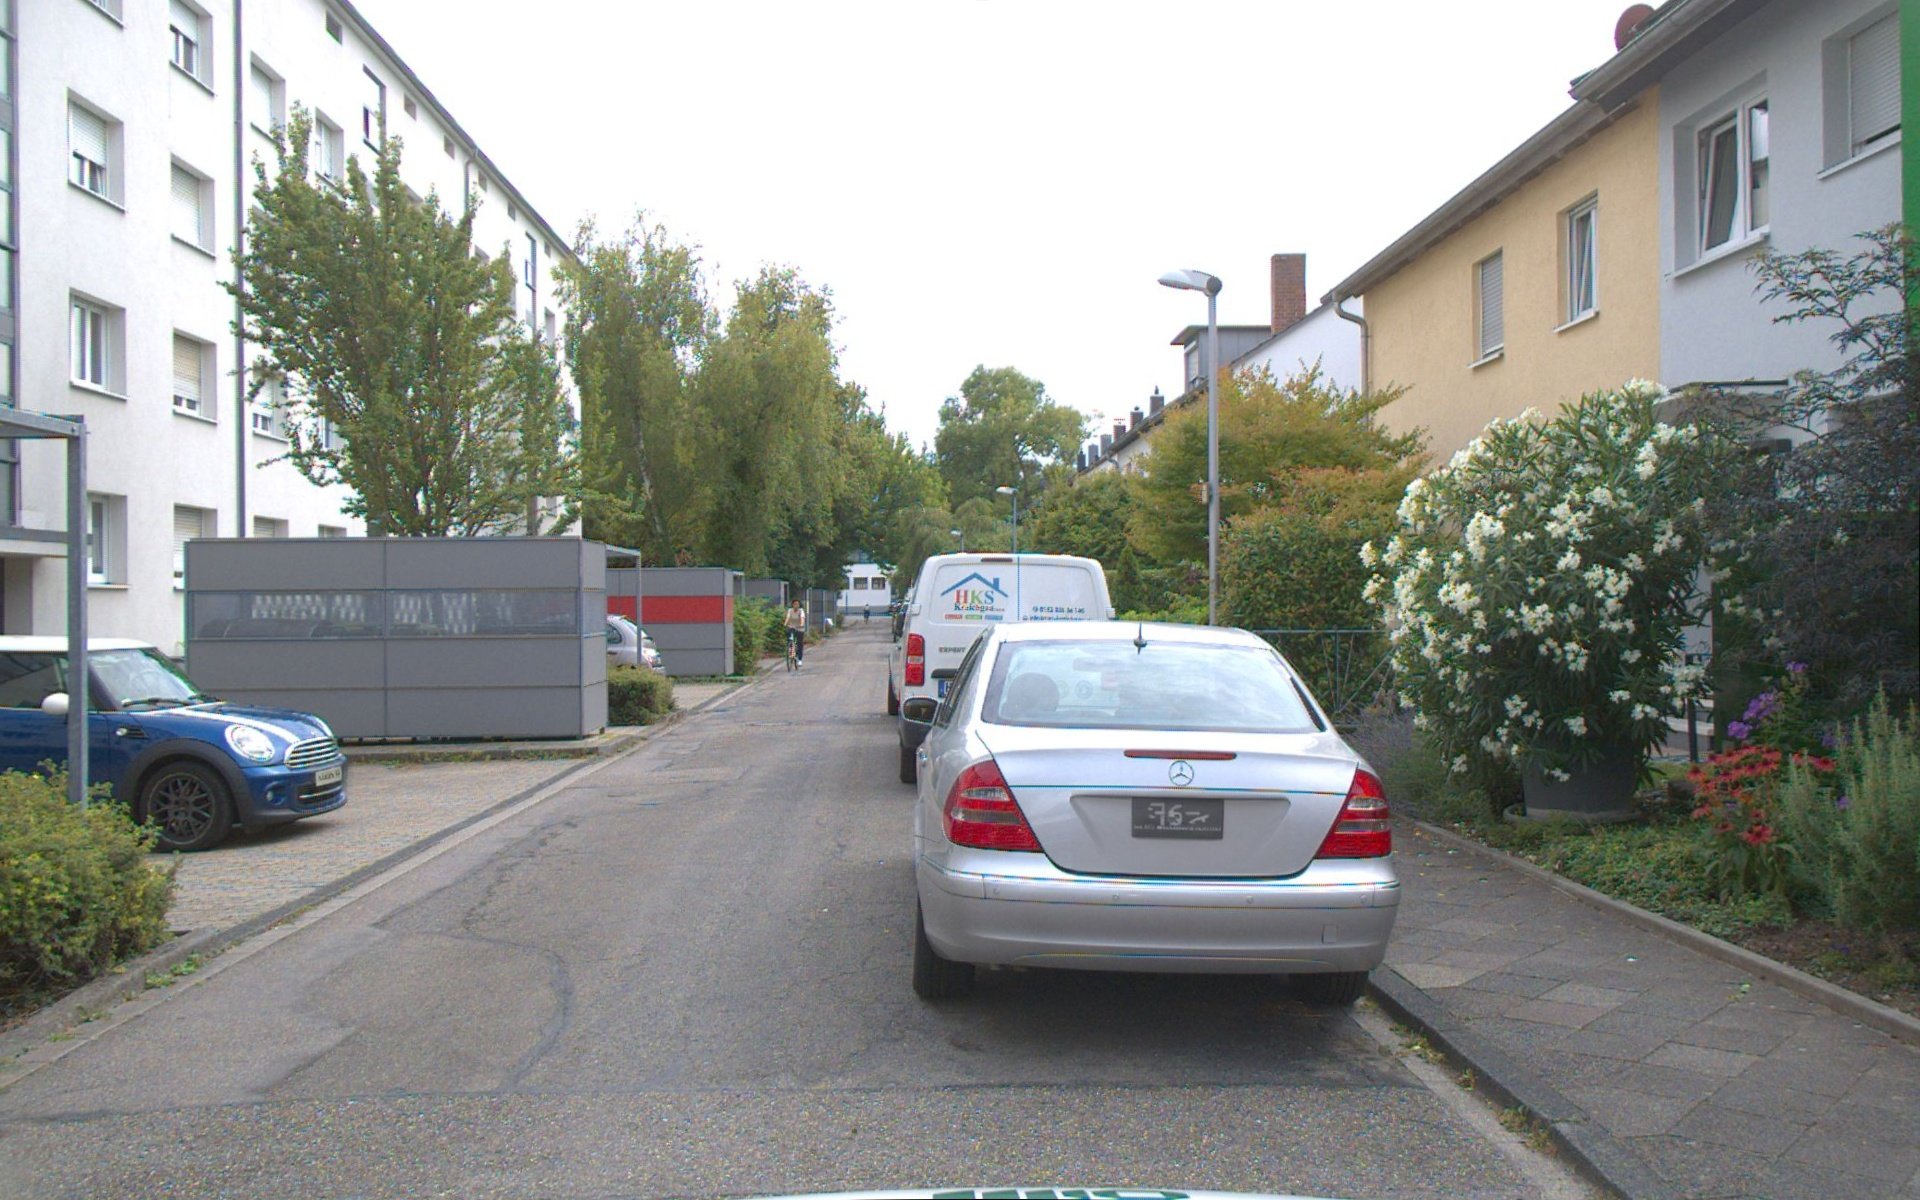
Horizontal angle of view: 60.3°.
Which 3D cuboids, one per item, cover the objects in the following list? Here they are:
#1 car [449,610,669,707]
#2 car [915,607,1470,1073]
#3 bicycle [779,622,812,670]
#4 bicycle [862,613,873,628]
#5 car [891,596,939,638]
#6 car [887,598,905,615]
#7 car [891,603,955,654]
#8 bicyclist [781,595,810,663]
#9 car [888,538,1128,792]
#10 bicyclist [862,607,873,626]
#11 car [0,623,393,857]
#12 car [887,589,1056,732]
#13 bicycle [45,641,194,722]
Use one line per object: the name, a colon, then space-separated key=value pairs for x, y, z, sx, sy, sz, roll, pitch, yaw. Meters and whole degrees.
car: x=-6.907 y=0.986 z=28.777 sx=3.494 sy=1.506 sz=1.708 roll=-2 pitch=0 yaw=-7
car: x=0.710 y=0.768 z=7.449 sx=1.747 sy=1.445 sz=4.454 roll=1 pitch=0 yaw=-1
bicycle: x=-4.018 y=1.120 z=40.546 sx=0.585 sy=1.095 sz=2.042 roll=-2 pitch=0 yaw=-1
bicycle: x=-7.312 y=1.636 z=131.017 sx=0.675 sy=1.151 sz=2.579 roll=1 pitch=0 yaw=0
car: x=-1.859 y=0.679 z=67.626 sx=1.789 sy=1.609 sz=3.997 roll=1 pitch=0 yaw=-4
car: x=-6.379 y=0.618 z=165.436 sx=1.788 sy=1.609 sz=3.998 roll=1 pitch=0 yaw=-2
car: x=-1.124 y=0.821 z=49.010 sx=1.788 sy=1.394 sz=4.329 roll=1 pitch=0 yaw=-2
bicyclist: x=-4.025 y=0.705 z=40.558 sx=0.585 sy=1.608 sz=0.767 roll=-2 pitch=0 yaw=-1
car: x=0.270 y=0.527 z=15.787 sx=1.865 sy=1.999 sz=5.250 roll=1 pitch=0 yaw=-3
bicyclist: x=-7.300 y=1.313 z=130.885 sx=0.782 sy=1.537 sz=0.934 roll=1 pitch=-1 yaw=0
car: x=-6.169 y=0.974 z=11.900 sx=3.560 sy=1.487 sz=1.653 roll=-2 pitch=0 yaw=1
car: x=0.051 y=0.711 z=21.467 sx=1.789 sy=1.664 sz=4.157 roll=1 pitch=0 yaw=-5
bicycle: x=-11.711 y=1.122 z=23.087 sx=1.796 sy=1.042 sz=0.471 roll=-1 pitch=0 yaw=-44
